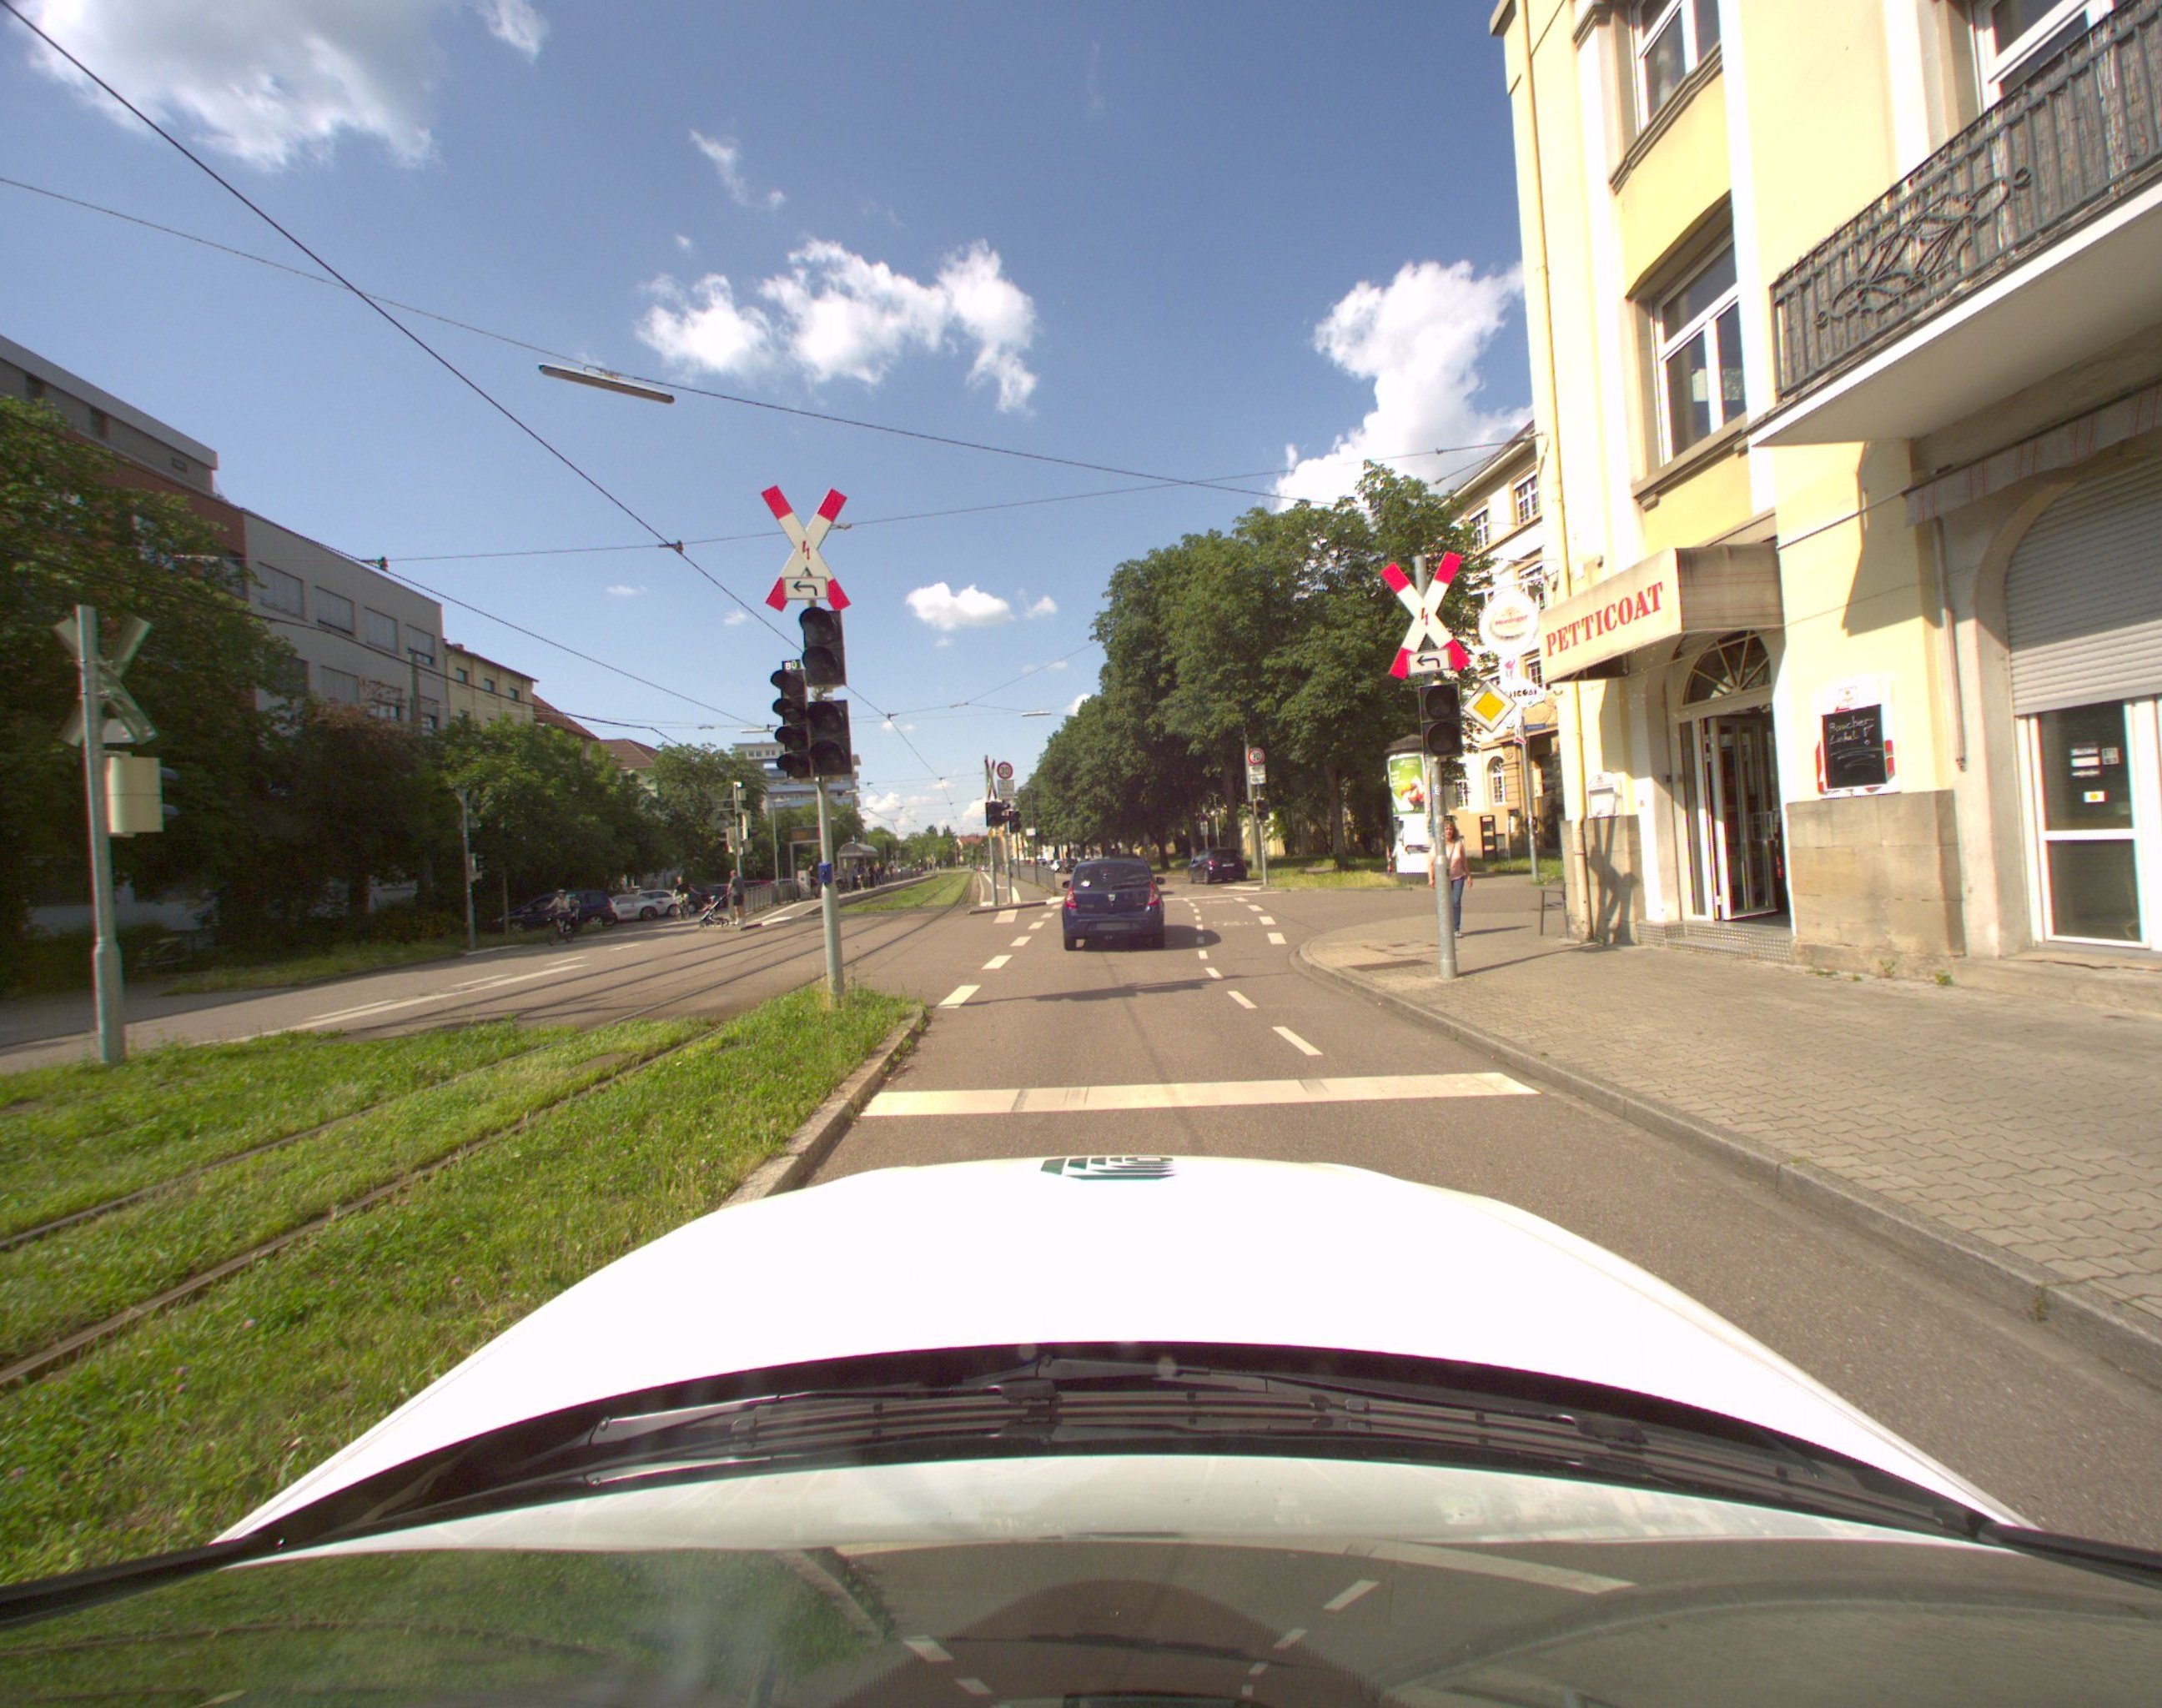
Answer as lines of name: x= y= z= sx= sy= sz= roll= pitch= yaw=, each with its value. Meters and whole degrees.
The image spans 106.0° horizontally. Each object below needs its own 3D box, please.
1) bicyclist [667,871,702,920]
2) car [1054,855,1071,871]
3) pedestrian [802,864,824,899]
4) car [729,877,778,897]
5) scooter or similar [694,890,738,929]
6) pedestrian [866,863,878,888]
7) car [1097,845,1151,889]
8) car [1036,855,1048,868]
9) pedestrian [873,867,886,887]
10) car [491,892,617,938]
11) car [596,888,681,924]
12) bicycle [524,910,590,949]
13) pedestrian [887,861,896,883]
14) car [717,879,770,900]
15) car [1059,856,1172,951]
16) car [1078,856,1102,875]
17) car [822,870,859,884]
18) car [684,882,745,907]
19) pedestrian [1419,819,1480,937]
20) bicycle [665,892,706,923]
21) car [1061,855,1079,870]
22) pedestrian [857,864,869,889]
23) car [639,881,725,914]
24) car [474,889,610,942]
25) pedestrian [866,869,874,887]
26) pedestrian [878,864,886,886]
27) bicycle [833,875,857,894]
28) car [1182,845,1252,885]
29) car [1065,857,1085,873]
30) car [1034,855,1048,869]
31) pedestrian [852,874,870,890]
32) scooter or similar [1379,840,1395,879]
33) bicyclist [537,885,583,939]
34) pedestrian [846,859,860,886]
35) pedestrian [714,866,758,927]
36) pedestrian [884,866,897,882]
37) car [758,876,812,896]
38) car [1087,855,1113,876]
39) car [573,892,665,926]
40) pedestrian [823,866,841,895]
bicyclist: x=-17.339 y=1.792 z=35.615 sx=0.949 sy=2.013 sz=1.568 roll=-4 pitch=0 yaw=-14
car: x=-2.203 y=1.080 z=97.555 sx=1.616 sy=1.750 sz=3.991 roll=-4 pitch=0 yaw=-6
pedestrian: x=-13.783 y=1.403 z=41.869 sx=0.705 sy=1.726 sz=0.672 roll=-4 pitch=0 yaw=35
car: x=-25.843 y=2.596 z=64.343 sx=1.437 sy=1.309 sz=3.268 roll=-4 pitch=0 yaw=37
scooter or similar: x=-11.321 y=1.717 z=25.291 sx=0.953 sy=1.064 sz=0.795 roll=-6 pitch=0 yaw=-8
pedestrian: x=-15.072 y=1.562 z=58.741 sx=0.602 sy=1.766 sz=0.639 roll=-4 pitch=0 yaw=2
car: x=1.459 y=0.403 z=28.564 sx=1.694 sy=1.368 sz=3.515 roll=-3 pitch=0 yaw=0
car: x=-5.826 y=1.136 z=122.518 sx=1.664 sy=1.772 sz=3.996 roll=-4 pitch=0 yaw=-3
pedestrian: x=-14.747 y=1.676 z=59.583 sx=0.648 sy=1.426 sz=0.566 roll=-5 pitch=0 yaw=30
car: x=-22.277 y=2.527 z=34.542 sx=1.704 sy=1.499 sz=4.158 roll=-4 pitch=0 yaw=44
car: x=-22.286 y=2.603 z=41.091 sx=3.409 sy=1.505 sz=1.525 roll=-4 pitch=0 yaw=-45
bicycle: x=-16.310 y=2.331 z=25.418 sx=0.679 sy=0.971 sz=2.176 roll=-5 pitch=0 yaw=-3
pedestrian: x=-17.515 y=1.652 z=75.327 sx=0.661 sy=2.013 sz=0.800 roll=-4 pitch=0 yaw=-14
car: x=-25.364 y=2.638 z=61.267 sx=1.437 sy=1.309 sz=3.268 roll=-4 pitch=0 yaw=37
car: x=0.622 y=0.797 z=14.884 sx=1.761 sy=1.462 sz=3.777 roll=-1 pitch=0 yaw=2
car: x=0.789 y=0.974 z=71.369 sx=1.846 sy=1.515 sz=3.997 roll=-4 pitch=0 yaw=-2
car: x=-28.478 y=2.706 z=96.519 sx=1.618 sy=1.385 sz=4.026 roll=-4 pitch=0 yaw=38
car: x=-23.696 y=2.602 z=52.719 sx=1.437 sy=1.309 sz=3.268 roll=-4 pitch=0 yaw=35
pedestrian: x=5.440 y=0.349 z=12.070 sx=0.666 sy=1.648 sz=0.767 roll=-5 pitch=-1 yaw=21
bicycle: x=-17.276 y=2.319 z=35.630 sx=1.156 sy=1.177 sz=1.779 roll=-5 pitch=-1 yaw=-14
car: x=-1.221 y=0.903 z=89.321 sx=1.823 sy=1.537 sz=3.997 roll=-5 pitch=0 yaw=-2
pedestrian: x=-15.456 y=1.576 z=57.695 sx=0.592 sy=1.736 sz=0.556 roll=-5 pitch=0 yaw=-2
car: x=-22.779 y=2.481 z=46.583 sx=1.669 sy=1.456 sz=4.025 roll=-5 pitch=0 yaw=43
car: x=-21.293 y=2.391 z=32.304 sx=1.704 sy=1.640 sz=4.158 roll=-4 pitch=0 yaw=44
pedestrian: x=-16.892 y=1.911 z=65.218 sx=0.489 sy=1.452 sz=0.461 roll=-5 pitch=0 yaw=-17
pedestrian: x=-15.988 y=1.679 z=65.329 sx=0.489 sy=1.712 sz=0.461 roll=-5 pitch=0 yaw=-17
bicycle: x=-13.584 y=1.760 z=46.929 sx=0.683 sy=0.974 sz=1.772 roll=-6 pitch=0 yaw=3
car: x=5.654 y=0.457 z=34.401 sx=1.764 sy=1.433 sz=3.893 roll=-5 pitch=0 yaw=-8
car: x=-0.649 y=1.066 z=83.738 sx=1.856 sy=1.445 sz=3.997 roll=-5 pitch=0 yaw=-2
car: x=-5.723 y=1.112 z=116.405 sx=1.825 sy=1.761 sz=3.997 roll=-4 pitch=0 yaw=-2
pedestrian: x=-14.909 y=1.909 z=55.187 sx=0.923 sy=0.989 sz=0.796 roll=-5 pitch=-2 yaw=-5
scooter or similar: x=9.735 y=0.170 z=25.947 sx=0.303 sy=1.189 sz=1.167 roll=-4 pitch=0 yaw=16
bicyclist: x=-16.349 y=1.804 z=25.575 sx=0.783 sy=1.582 sz=0.862 roll=-5 pitch=0 yaw=-4
pedestrian: x=-14.970 y=1.215 z=53.570 sx=0.654 sy=1.692 sz=0.655 roll=-5 pitch=0 yaw=-6
pedestrian: x=-10.787 y=1.319 z=25.499 sx=0.870 sy=1.775 sz=1.000 roll=-6 pitch=0 yaw=-9
pedestrian: x=-18.347 y=1.963 z=78.436 sx=1.033 sy=1.437 sz=0.698 roll=-5 pitch=0 yaw=-22
car: x=-25.971 y=2.773 z=71.512 sx=1.694 sy=1.367 sz=4.025 roll=-5 pitch=0 yaw=42
car: x=1.519 y=0.921 z=66.626 sx=1.856 sy=1.445 sz=3.997 roll=-6 pitch=0 yaw=-2
car: x=-21.696 y=2.572 z=38.276 sx=1.525 sy=1.236 sz=3.410 roll=-4 pitch=0 yaw=44
pedestrian: x=-14.359 y=1.536 z=47.040 sx=0.661 sy=1.569 sz=0.686 roll=-5 pitch=0 yaw=1
